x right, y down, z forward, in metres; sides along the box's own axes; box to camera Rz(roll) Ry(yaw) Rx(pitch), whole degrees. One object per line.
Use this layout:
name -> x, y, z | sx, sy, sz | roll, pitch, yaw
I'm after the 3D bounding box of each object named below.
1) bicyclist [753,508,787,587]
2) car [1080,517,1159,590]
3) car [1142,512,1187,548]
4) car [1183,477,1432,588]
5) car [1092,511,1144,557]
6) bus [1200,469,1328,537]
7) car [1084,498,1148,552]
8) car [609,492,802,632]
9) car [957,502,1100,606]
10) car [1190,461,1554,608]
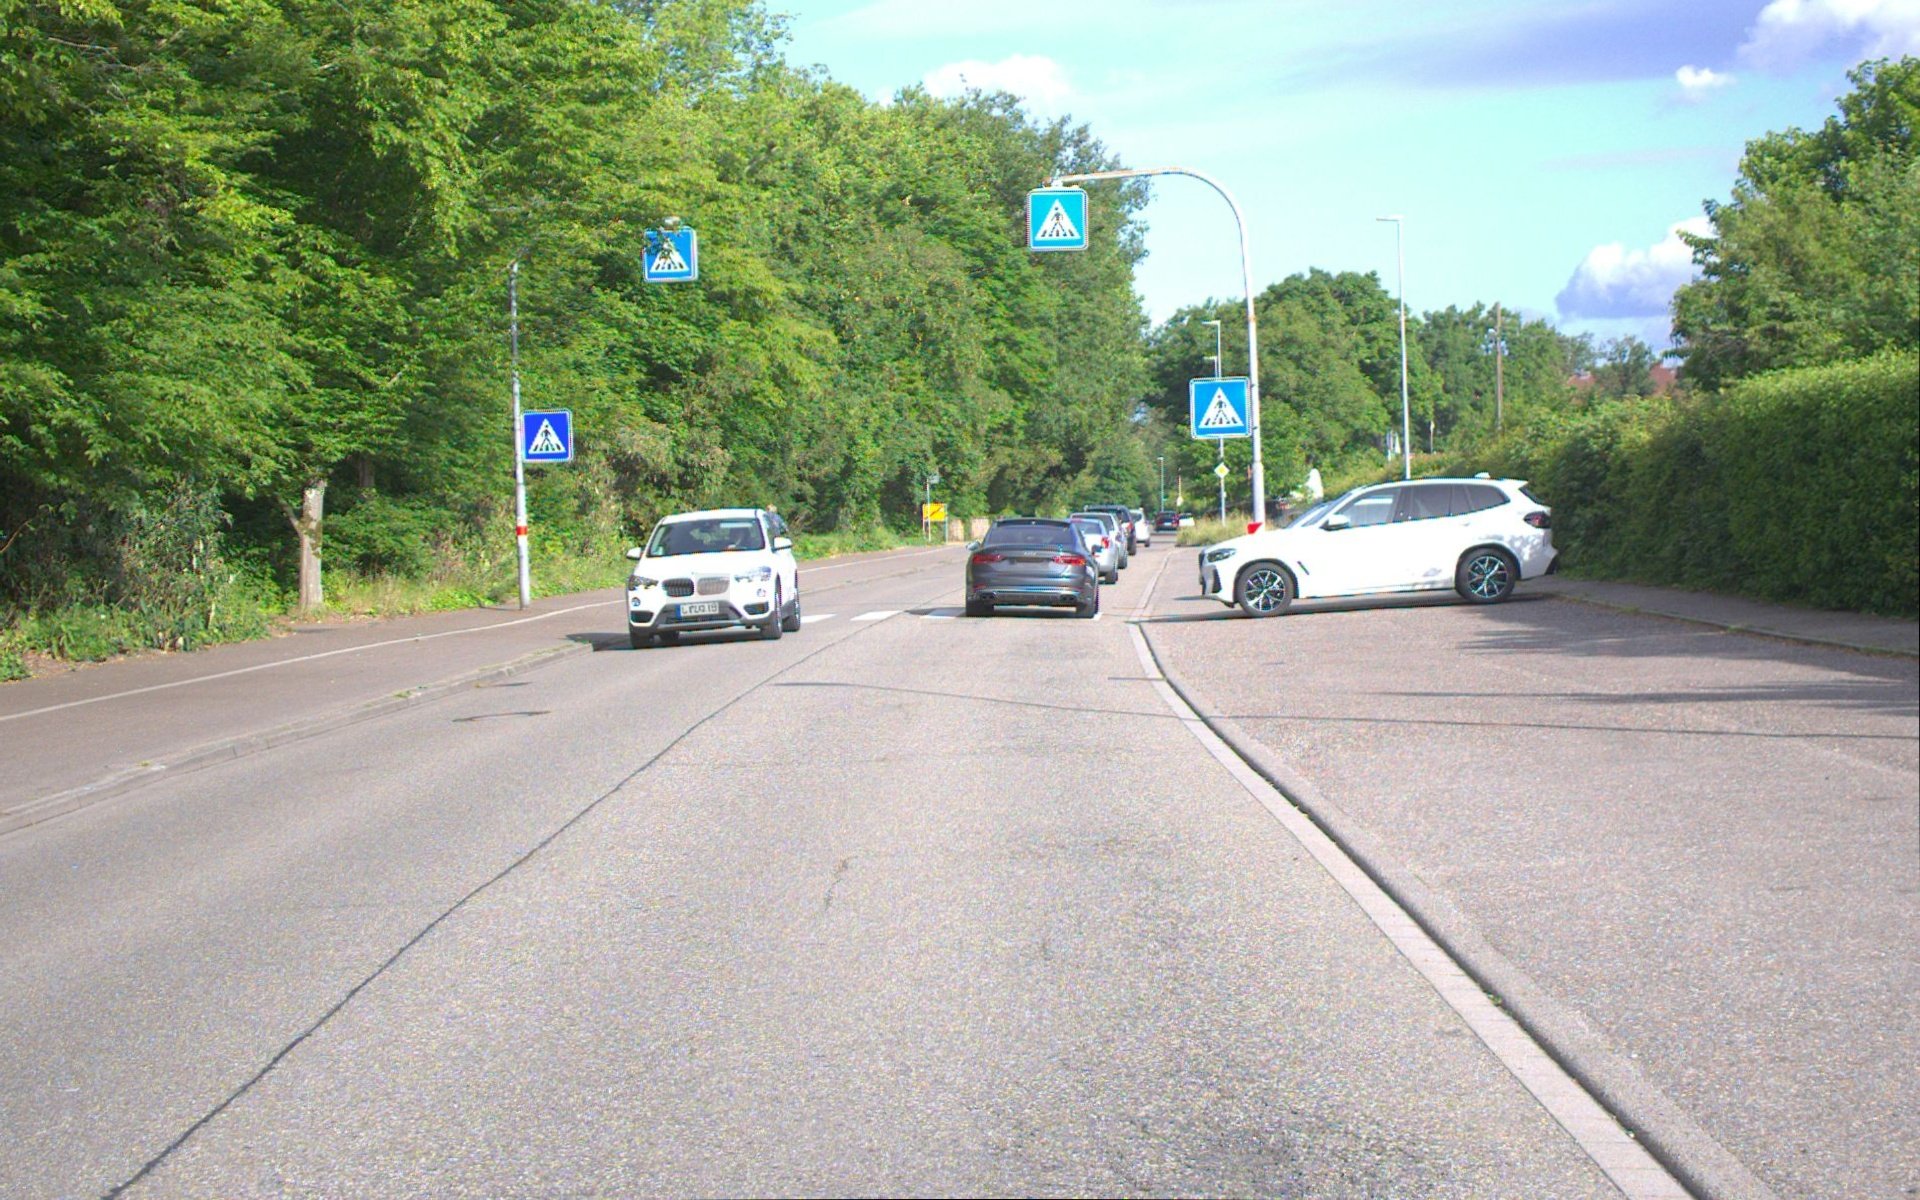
bicyclist -> -4.063, -1.120, 73.470 | 0.609, 1.671, 0.883 | 0, 1, 4
car -> 3.159, -0.937, 68.231 | 1.495, 1.361, 3.262 | -2, 2, 3
car -> 8.010, -2.748, 134.323 | 1.495, 1.361, 3.261 | -1, 1, 7
car -> 5.636, -1.117, 56.155 | 3.857, 1.485, 1.692 | -4, 2, 3
car -> 4.928, -2.060, 106.702 | 1.495, 1.361, 3.262 | -1, 1, 4
bus -> 13.290, -4.247, 150.698 | 5.365, 2.737, 2.068 | -2, 2, 2
car -> 3.961, -1.897, 86.962 | 1.495, 1.300, 3.262 | -1, 1, 4
car -> -3.094, -0.481, 42.553 | 1.802, 1.580, 4.101 | -2, 1, 3
car -> 0.997, -0.689, 49.579 | 1.966, 1.429, 4.336 | 0, 1, 2
car -> 5.359, -0.861, 45.121 | 4.588, 1.693, 1.763 | -2, 1, 5
